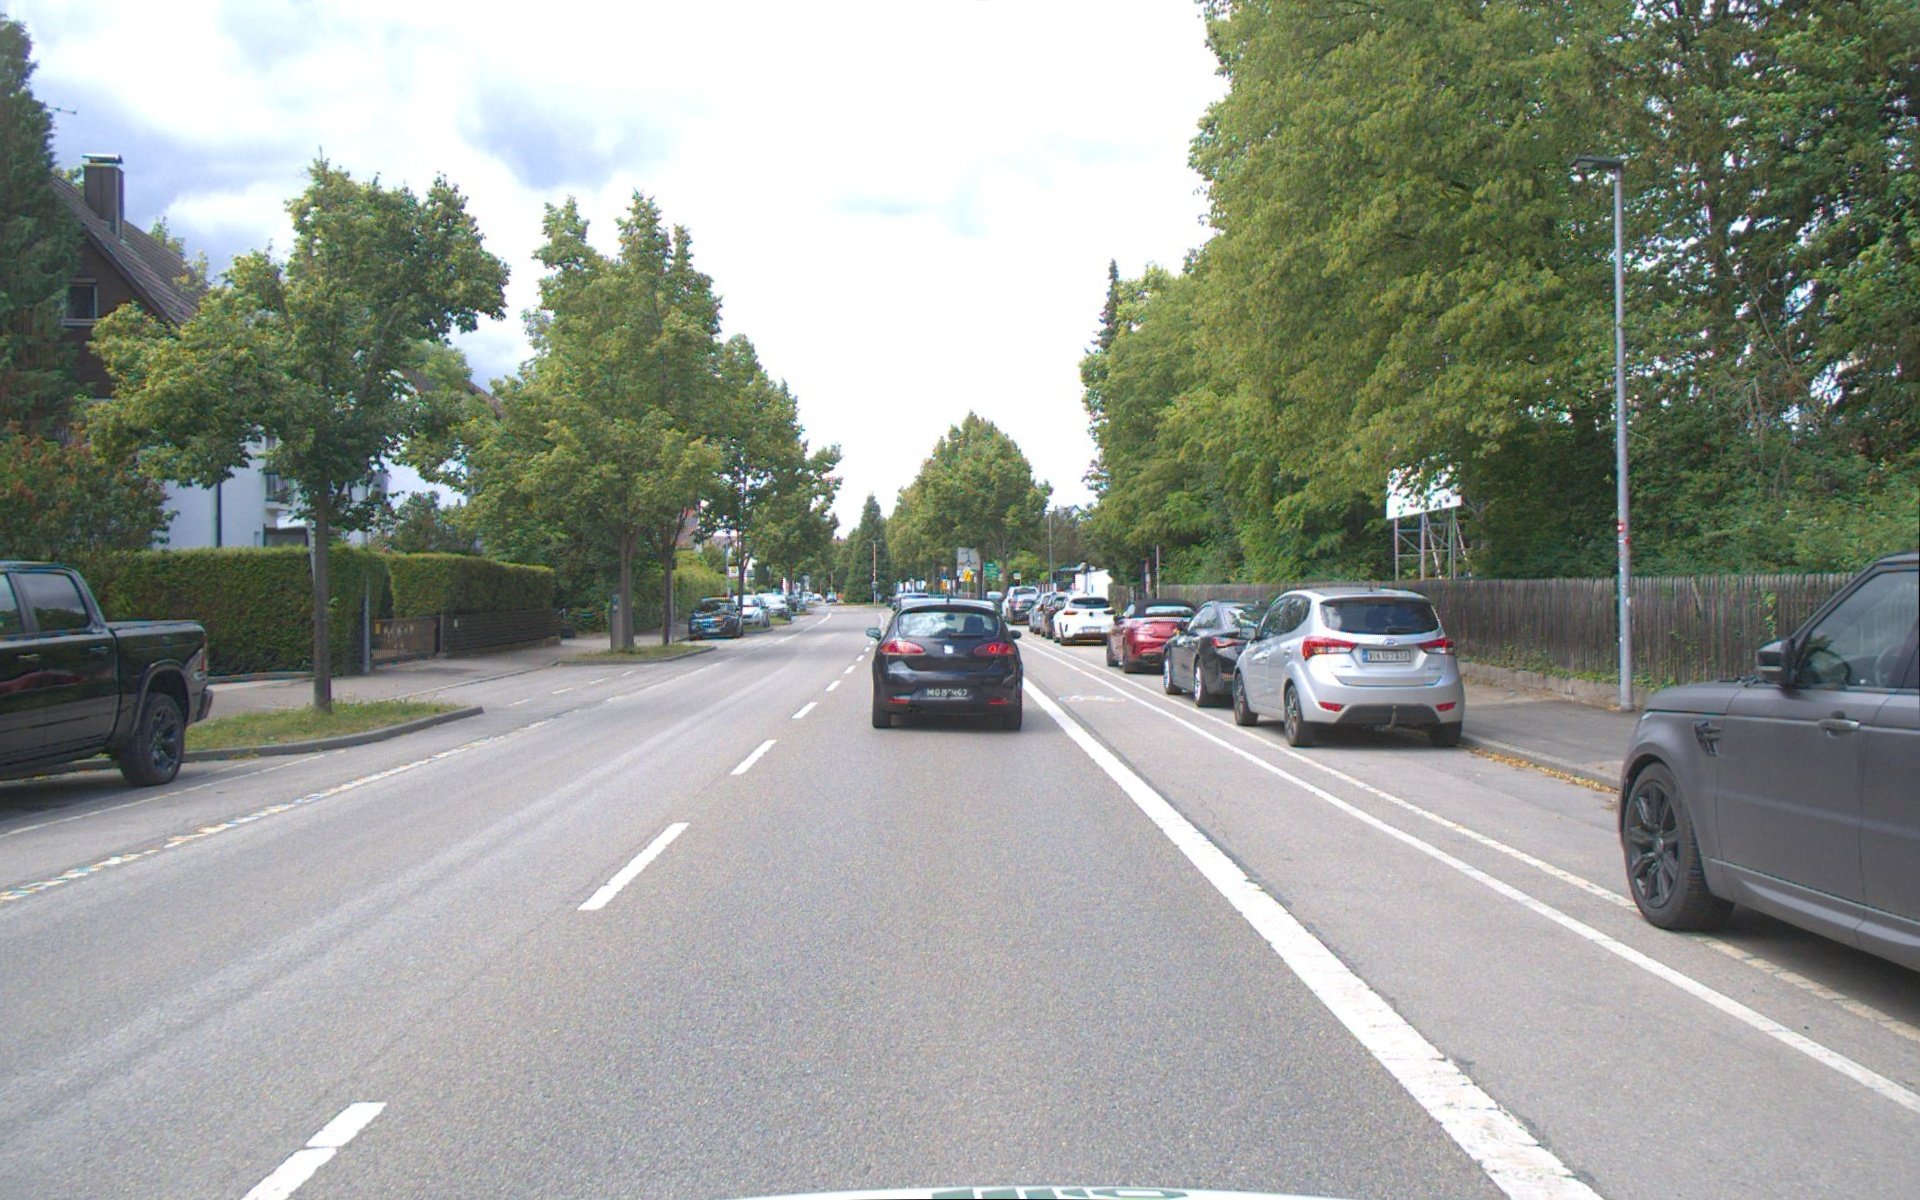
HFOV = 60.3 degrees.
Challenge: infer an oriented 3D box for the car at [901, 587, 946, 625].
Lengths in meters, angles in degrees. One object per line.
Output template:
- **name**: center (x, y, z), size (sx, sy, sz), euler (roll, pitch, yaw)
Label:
- **car**: center (-1.652, 0.239, 74.317), size (1.953, 1.641, 3.998), euler (-1, 0, -2)

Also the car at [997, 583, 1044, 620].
- **car**: center (2.877, 0.084, 79.701), size (1.863, 1.671, 4.114), euler (-1, 0, -3)

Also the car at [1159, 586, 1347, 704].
- **car**: center (4.149, 0.598, 24.149), size (1.779, 1.541, 4.678), euler (0, 0, -2)

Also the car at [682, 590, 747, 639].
- **car**: center (-9.222, 0.516, 62.445), size (2.054, 1.675, 5.033), euler (-2, 1, -5)

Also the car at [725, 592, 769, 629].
- **car**: center (-9.857, 0.462, 76.715), size (1.684, 1.641, 3.907), euler (-2, 0, -3)

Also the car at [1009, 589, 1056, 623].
- **car**: center (3.189, 0.245, 73.283), size (1.825, 1.441, 4.602), euler (-1, 0, -1)

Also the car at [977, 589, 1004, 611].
- **car**: center (2.127, 0.002, 116.597), size (1.579, 1.401, 4.384), euler (-1, -1, -3)

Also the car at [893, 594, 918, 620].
- **car**: center (-4.426, 0.568, 133.642), size (1.953, 2.049, 3.998), euler (-1, 0, -2)

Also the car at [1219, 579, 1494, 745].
- **car**: center (4.260, 0.597, 18.525), size (1.825, 1.617, 4.419), euler (0, 0, -3)

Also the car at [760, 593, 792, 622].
- **car**: center (-10.482, 0.399, 94.535), size (1.644, 1.579, 4.268), euler (-1, 0, -5)

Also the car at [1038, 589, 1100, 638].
- **car**: center (3.556, 0.419, 54.732), size (1.667, 1.536, 4.536), euler (0, 1, -1)

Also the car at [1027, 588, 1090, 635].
- **car**: center (3.539, 0.394, 60.176), size (1.824, 1.639, 4.684), euler (0, 0, -2)

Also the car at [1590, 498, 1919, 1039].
- **car**: center (4.248, 0.580, 6.133), size (1.953, 1.847, 4.826), euler (0, 0, -1)

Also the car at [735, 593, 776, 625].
- **car**: center (-10.541, 0.450, 85.487), size (1.955, 1.511, 4.884), euler (-2, 0, -6)

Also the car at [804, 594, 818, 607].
- **car**: center (-19.576, 0.056, 217.177), size (1.762, 1.629, 3.997), euler (-2, 0, -4)

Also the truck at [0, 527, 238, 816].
- **truck**: center (-8.143, 0.528, 13.044), size (2.374, 2.079, 5.993), euler (-1, 0, -2)

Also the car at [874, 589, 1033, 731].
- **car**: center (-0.087, 0.642, 19.855), size (1.697, 1.512, 3.999), euler (1, 0, -1)

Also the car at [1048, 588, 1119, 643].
- **car**: center (3.625, 0.453, 49.005), size (1.732, 1.537, 4.030), euler (-1, 0, -1)

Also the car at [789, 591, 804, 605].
- **car**: center (-23.229, -0.290, 234.982), size (1.991, 2.005, 3.995), euler (-2, 0, -6)

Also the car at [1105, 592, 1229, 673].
- **car**: center (4.092, 0.598, 33.302), size (1.821, 1.438, 4.442), euler (1, 1, -1)
